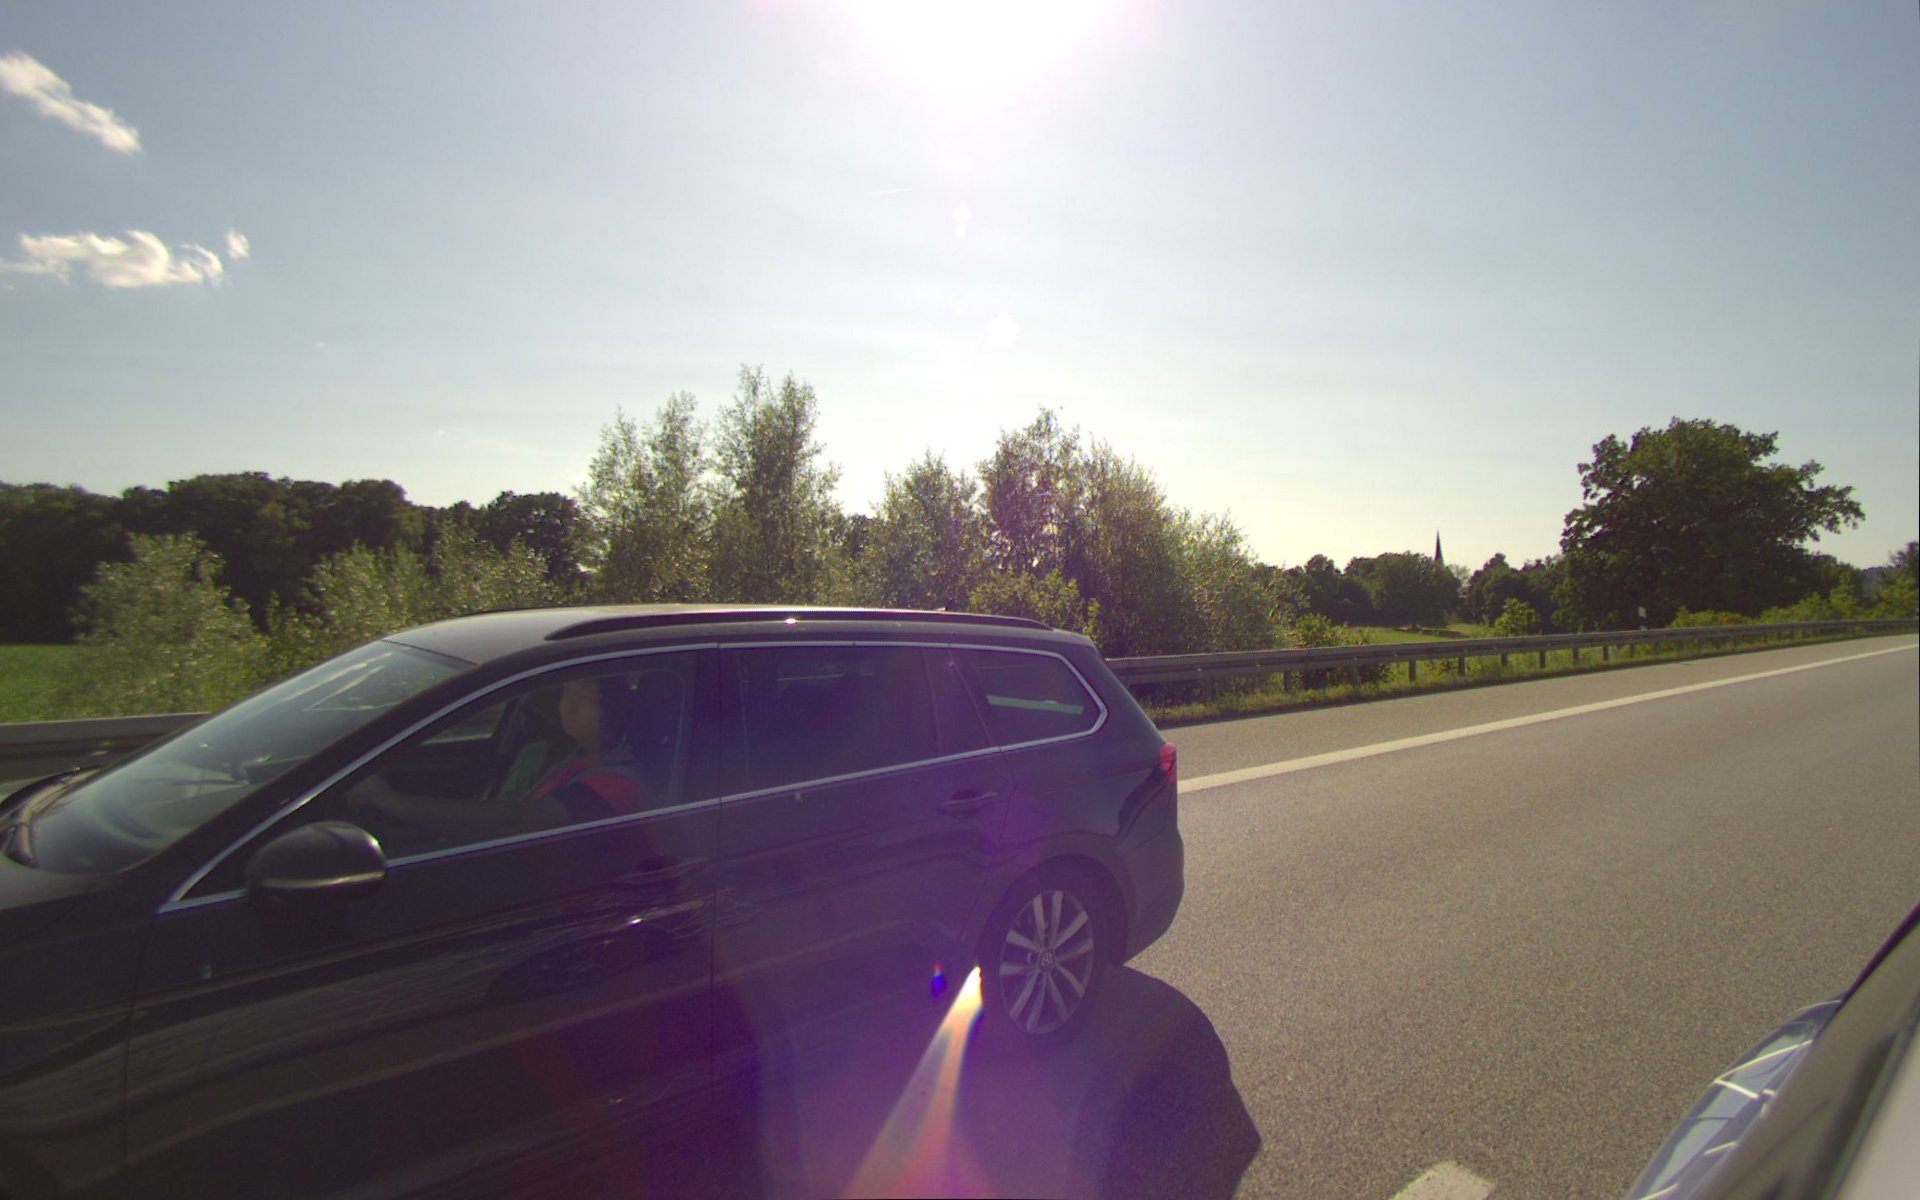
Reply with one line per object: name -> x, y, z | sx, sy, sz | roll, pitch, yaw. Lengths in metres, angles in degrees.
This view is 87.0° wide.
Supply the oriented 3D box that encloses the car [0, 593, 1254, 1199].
car -> -1.033, 0.703, 3.140 | 4.337, 1.417, 1.721 | -1, 1, -42
